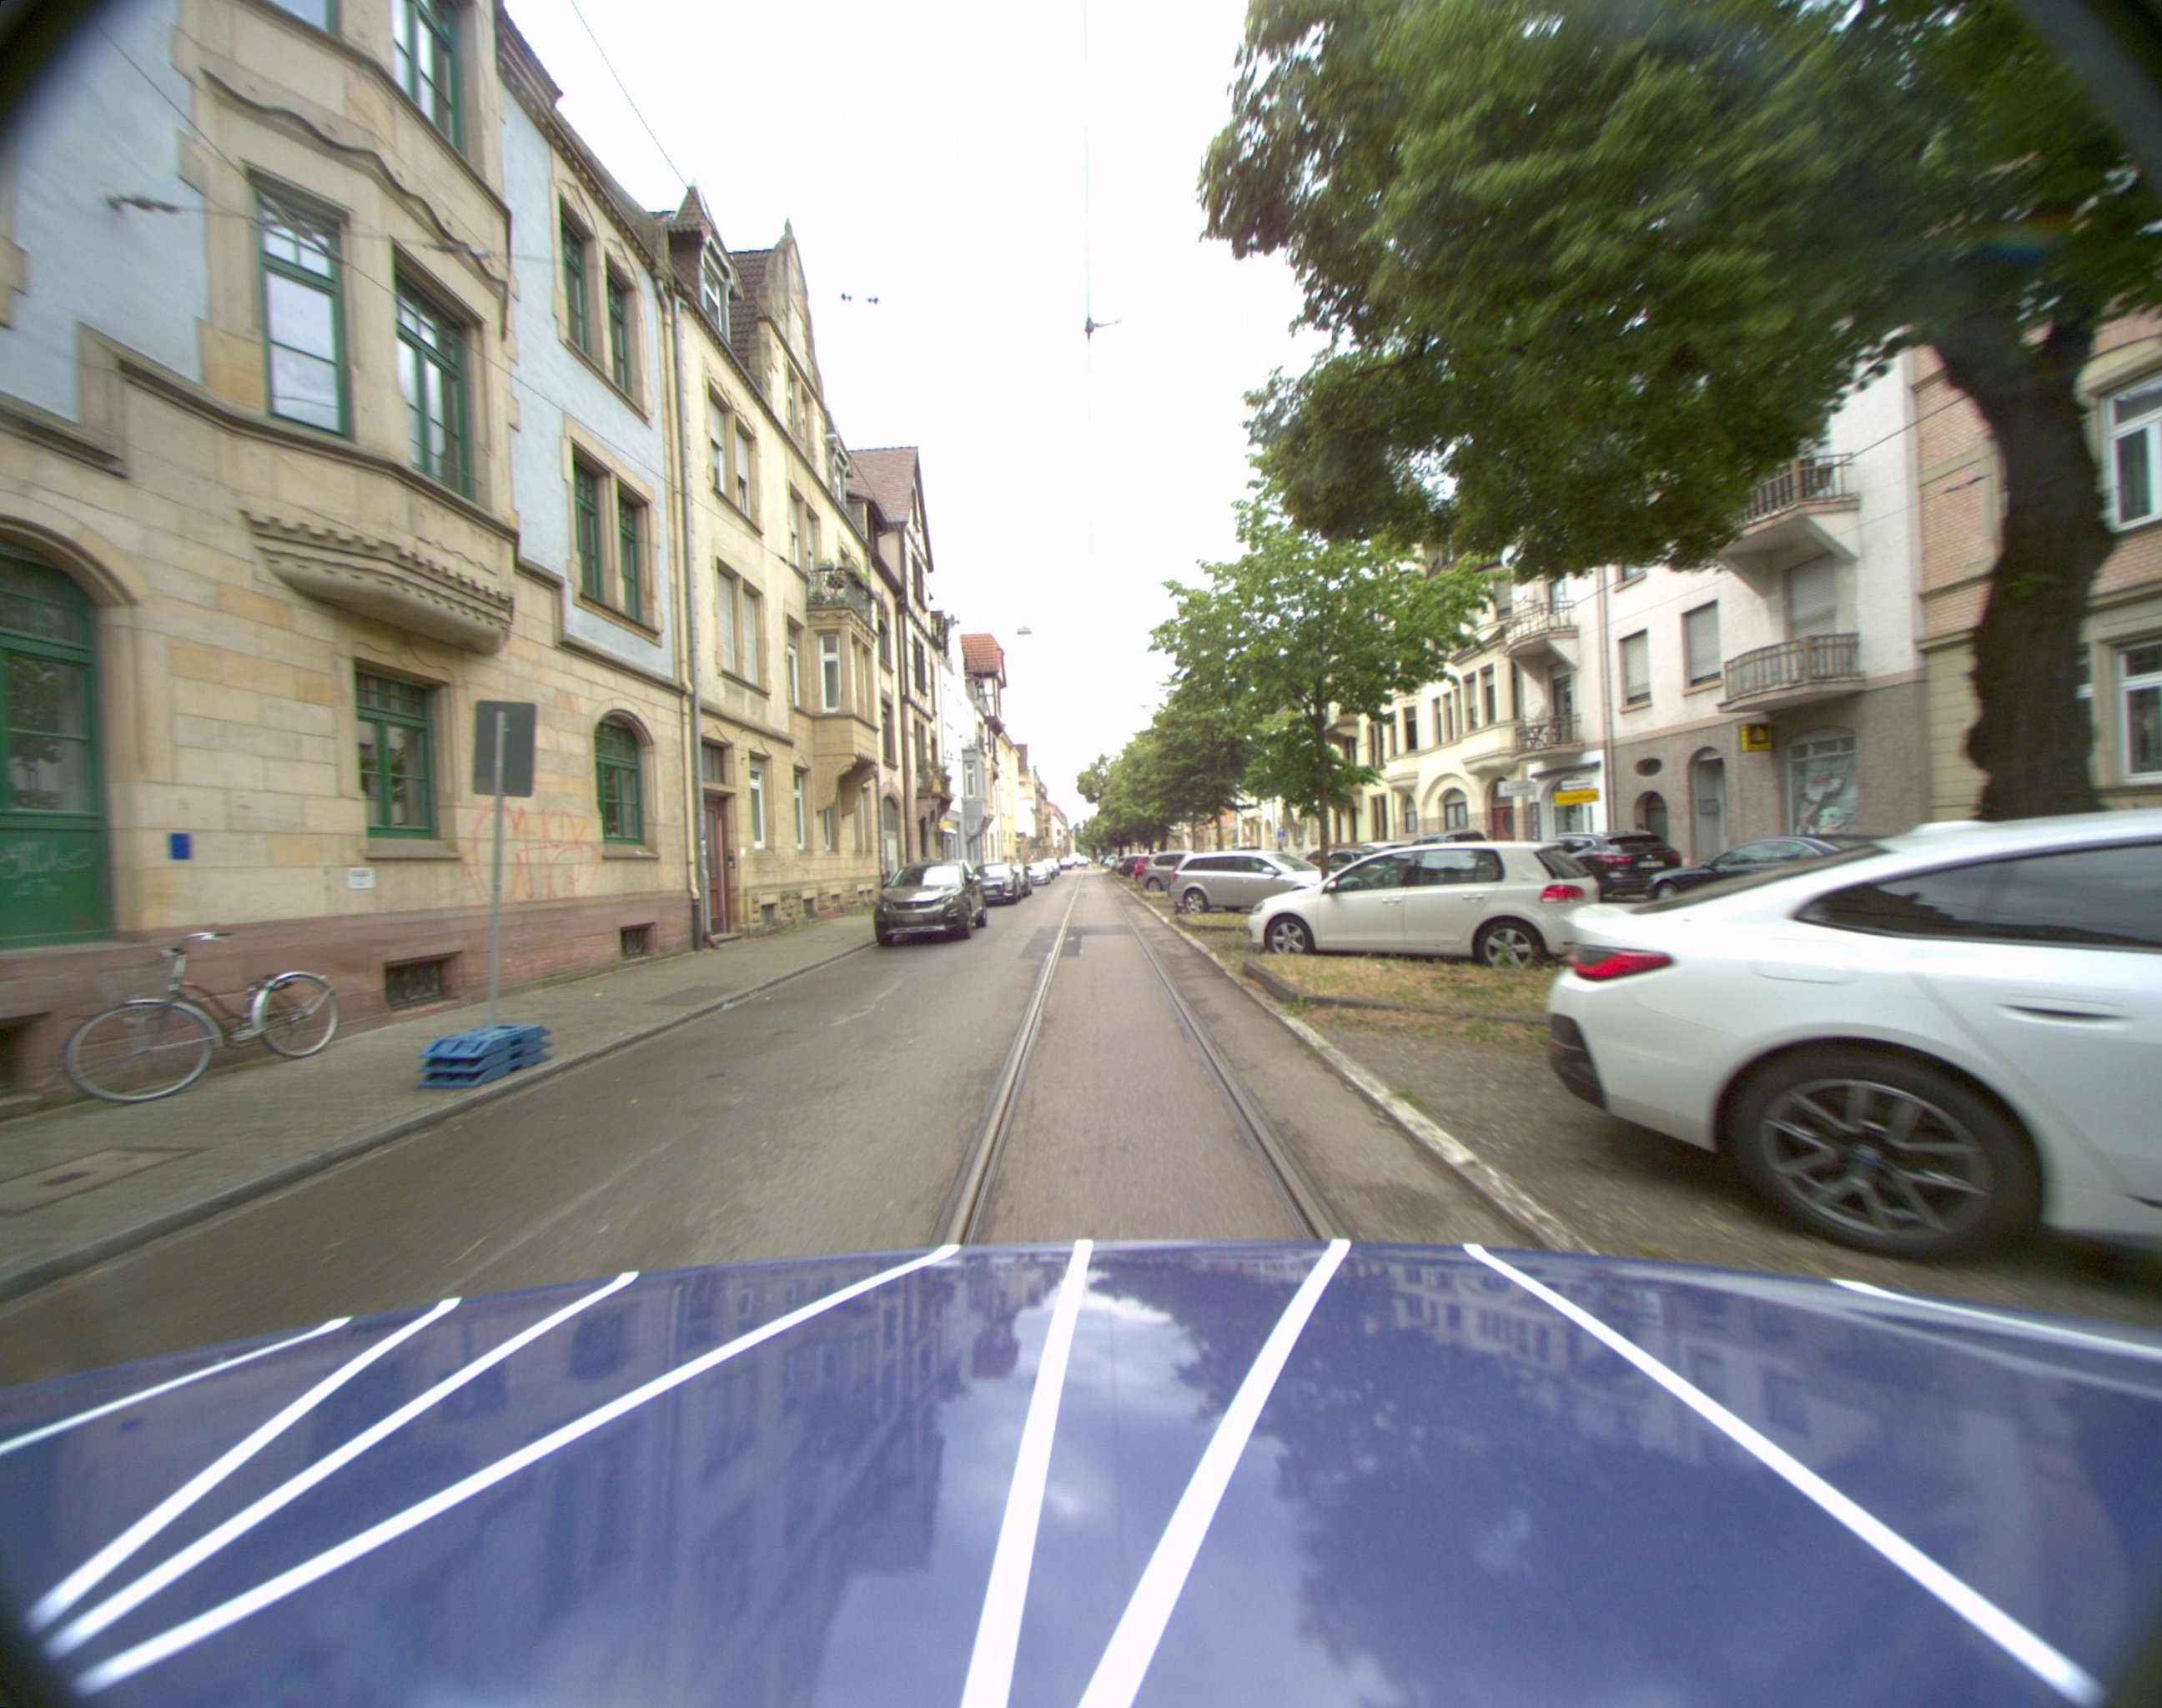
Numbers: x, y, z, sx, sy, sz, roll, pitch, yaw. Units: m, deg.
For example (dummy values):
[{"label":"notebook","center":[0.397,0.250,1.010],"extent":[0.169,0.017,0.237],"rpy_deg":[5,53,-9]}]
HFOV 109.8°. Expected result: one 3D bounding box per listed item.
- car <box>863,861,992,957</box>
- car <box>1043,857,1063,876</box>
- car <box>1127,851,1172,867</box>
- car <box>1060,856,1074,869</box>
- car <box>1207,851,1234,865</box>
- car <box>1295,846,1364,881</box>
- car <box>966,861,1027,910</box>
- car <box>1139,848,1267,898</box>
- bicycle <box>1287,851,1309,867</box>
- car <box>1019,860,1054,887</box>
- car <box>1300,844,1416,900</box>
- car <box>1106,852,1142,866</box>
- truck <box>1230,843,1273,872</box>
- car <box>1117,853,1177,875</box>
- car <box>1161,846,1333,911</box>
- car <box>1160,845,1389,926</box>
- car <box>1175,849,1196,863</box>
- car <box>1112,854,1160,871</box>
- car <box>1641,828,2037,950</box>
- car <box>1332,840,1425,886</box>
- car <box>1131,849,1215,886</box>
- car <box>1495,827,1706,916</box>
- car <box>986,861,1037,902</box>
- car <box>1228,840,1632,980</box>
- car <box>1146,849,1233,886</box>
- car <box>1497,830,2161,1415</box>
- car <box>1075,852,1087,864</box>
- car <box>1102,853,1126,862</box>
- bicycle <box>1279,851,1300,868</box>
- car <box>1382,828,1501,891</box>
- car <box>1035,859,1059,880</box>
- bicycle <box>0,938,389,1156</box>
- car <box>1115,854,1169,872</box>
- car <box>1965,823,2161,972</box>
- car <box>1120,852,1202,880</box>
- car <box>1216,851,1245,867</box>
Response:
[{"label":"car","center":[-3.053,1.021,16.088],"extent":[1.764,1.612,4.694],"rpy_deg":[-3,0,-1]},{"label":"car","center":[-2.602,1.104,70.738],"extent":[1.635,1.519,4.213],"rpy_deg":[-3,1,0]},{"label":"car","center":[6.702,0.534,74.107],"extent":[3.991,1.407,1.901],"rpy_deg":[-2,-1,21]},{"label":"car","center":[-1.940,1.159,106.201],"extent":[1.676,1.519,4.213],"rpy_deg":[-3,1,0]},{"label":"car","center":[12.455,0.378,68.020],"extent":[1.639,1.169,3.380],"rpy_deg":[-3,0,-1]},{"label":"car","center":[12.042,0.451,37.131],"extent":[1.856,1.513,4.194],"rpy_deg":[-2,0,-2]},{"label":"car","center":[-3.065,1.107,28.232],"extent":[1.702,1.504,4.419],"rpy_deg":[-5,0,-1]},{"label":"car","center":[4.315,0.659,27.169],"extent":[4.195,1.600,1.728],"rpy_deg":[-2,2,42]},{"label":"bicycle","center":[15.325,0.361,53.724],"extent":[0.613,1.120,1.914],"rpy_deg":[-5,0,-11]},{"label":"car","center":[-2.828,1.205,49.254],"extent":[1.793,1.504,4.214],"rpy_deg":[-5,0,1]},{"label":"car","center":[8.279,0.485,23.177],"extent":[1.809,1.444,4.652],"rpy_deg":[-3,0,0]},{"label":"car","center":[5.322,0.650,94.175],"extent":[3.989,1.602,1.902],"rpy_deg":[-2,-1,31]},{"label":"truck","center":[12.270,0.243,55.137],"extent":[2.150,1.845,6.065],"rpy_deg":[-3,0,5]},{"label":"car","center":[4.751,0.735,55.087],"extent":[3.989,1.458,1.902],"rpy_deg":[-3,-2,44]},{"label":"car","center":[4.248,0.651,19.849],"extent":[1.779,1.476,3.989],"rpy_deg":[-3,0,-44]},{"label":"car","center":[4.140,0.676,16.831],"extent":[1.867,1.484,4.553],"rpy_deg":[-4,1,-43]},{"label":"car","center":[12.595,0.215,91.981],"extent":[1.796,1.596,4.512],"rpy_deg":[-3,0,-1]},{"label":"car","center":[5.022,0.793,69.389],"extent":[3.989,1.407,1.902],"rpy_deg":[-3,-1,39]},{"label":"car","center":[11.327,0.428,11.920],"extent":[1.809,1.481,4.387],"rpy_deg":[-3,0,0]},{"label":"car","center":[11.912,0.362,30.732],"extent":[1.856,1.650,4.493],"rpy_deg":[-2,0,-2]},{"label":"car","center":[4.477,0.675,37.339],"extent":[1.678,1.518,3.803],"rpy_deg":[-4,0,-44]},{"label":"car","center":[11.492,0.332,17.237],"extent":[1.809,1.670,4.272],"rpy_deg":[-3,0,0]},{"label":"car","center":[-2.981,1.155,33.259],"extent":[1.702,1.504,4.391],"rpy_deg":[-5,0,0]},{"label":"car","center":[4.141,0.619,9.441],"extent":[4.119,1.304,1.867],"rpy_deg":[-3,0,44]},{"label":"car","center":[4.832,0.591,34.011],"extent":[3.418,1.518,1.693],"rpy_deg":[-1,2,43]},{"label":"car","center":[4.030,0.672,2.196],"extent":[4.529,1.482,2.040],"rpy_deg":[-2,1,45]},{"label":"car","center":[0.010,0.692,135.356],"extent":[1.998,2.002,4.000],"rpy_deg":[-3,1,1]},{"label":"car","center":[6.340,0.602,146.141],"extent":[3.991,1.602,1.901],"rpy_deg":[-2,-1,22]},{"label":"bicycle","center":[15.321,0.417,55.792],"extent":[0.613,1.120,1.914],"rpy_deg":[-5,0,-11]},{"label":"car","center":[11.841,0.177,25.321],"extent":[1.855,1.859,4.431],"rpy_deg":[-2,0,1]},{"label":"car","center":[-2.685,1.186,60.674],"extent":[1.635,1.478,4.213],"rpy_deg":[-5,0,0]},{"label":"bicycle","center":[-6.494,1.331,5.774],"extent":[0.612,1.120,1.916],"rpy_deg":[-5,0,0]},{"label":"car","center":[5.003,0.746,62.589],"extent":[3.989,1.407,1.902],"rpy_deg":[-3,-1,39]},{"label":"car","center":[11.518,0.409,6.997],"extent":[1.809,1.430,4.230],"rpy_deg":[-3,0,0]},{"label":"car","center":[4.676,0.744,44.922],"extent":[1.889,1.458,4.596],"rpy_deg":[-3,0,-44]},{"label":"car","center":[12.408,0.414,63.339],"extent":[1.639,1.169,3.380],"rpy_deg":[-3,0,-1]}]
